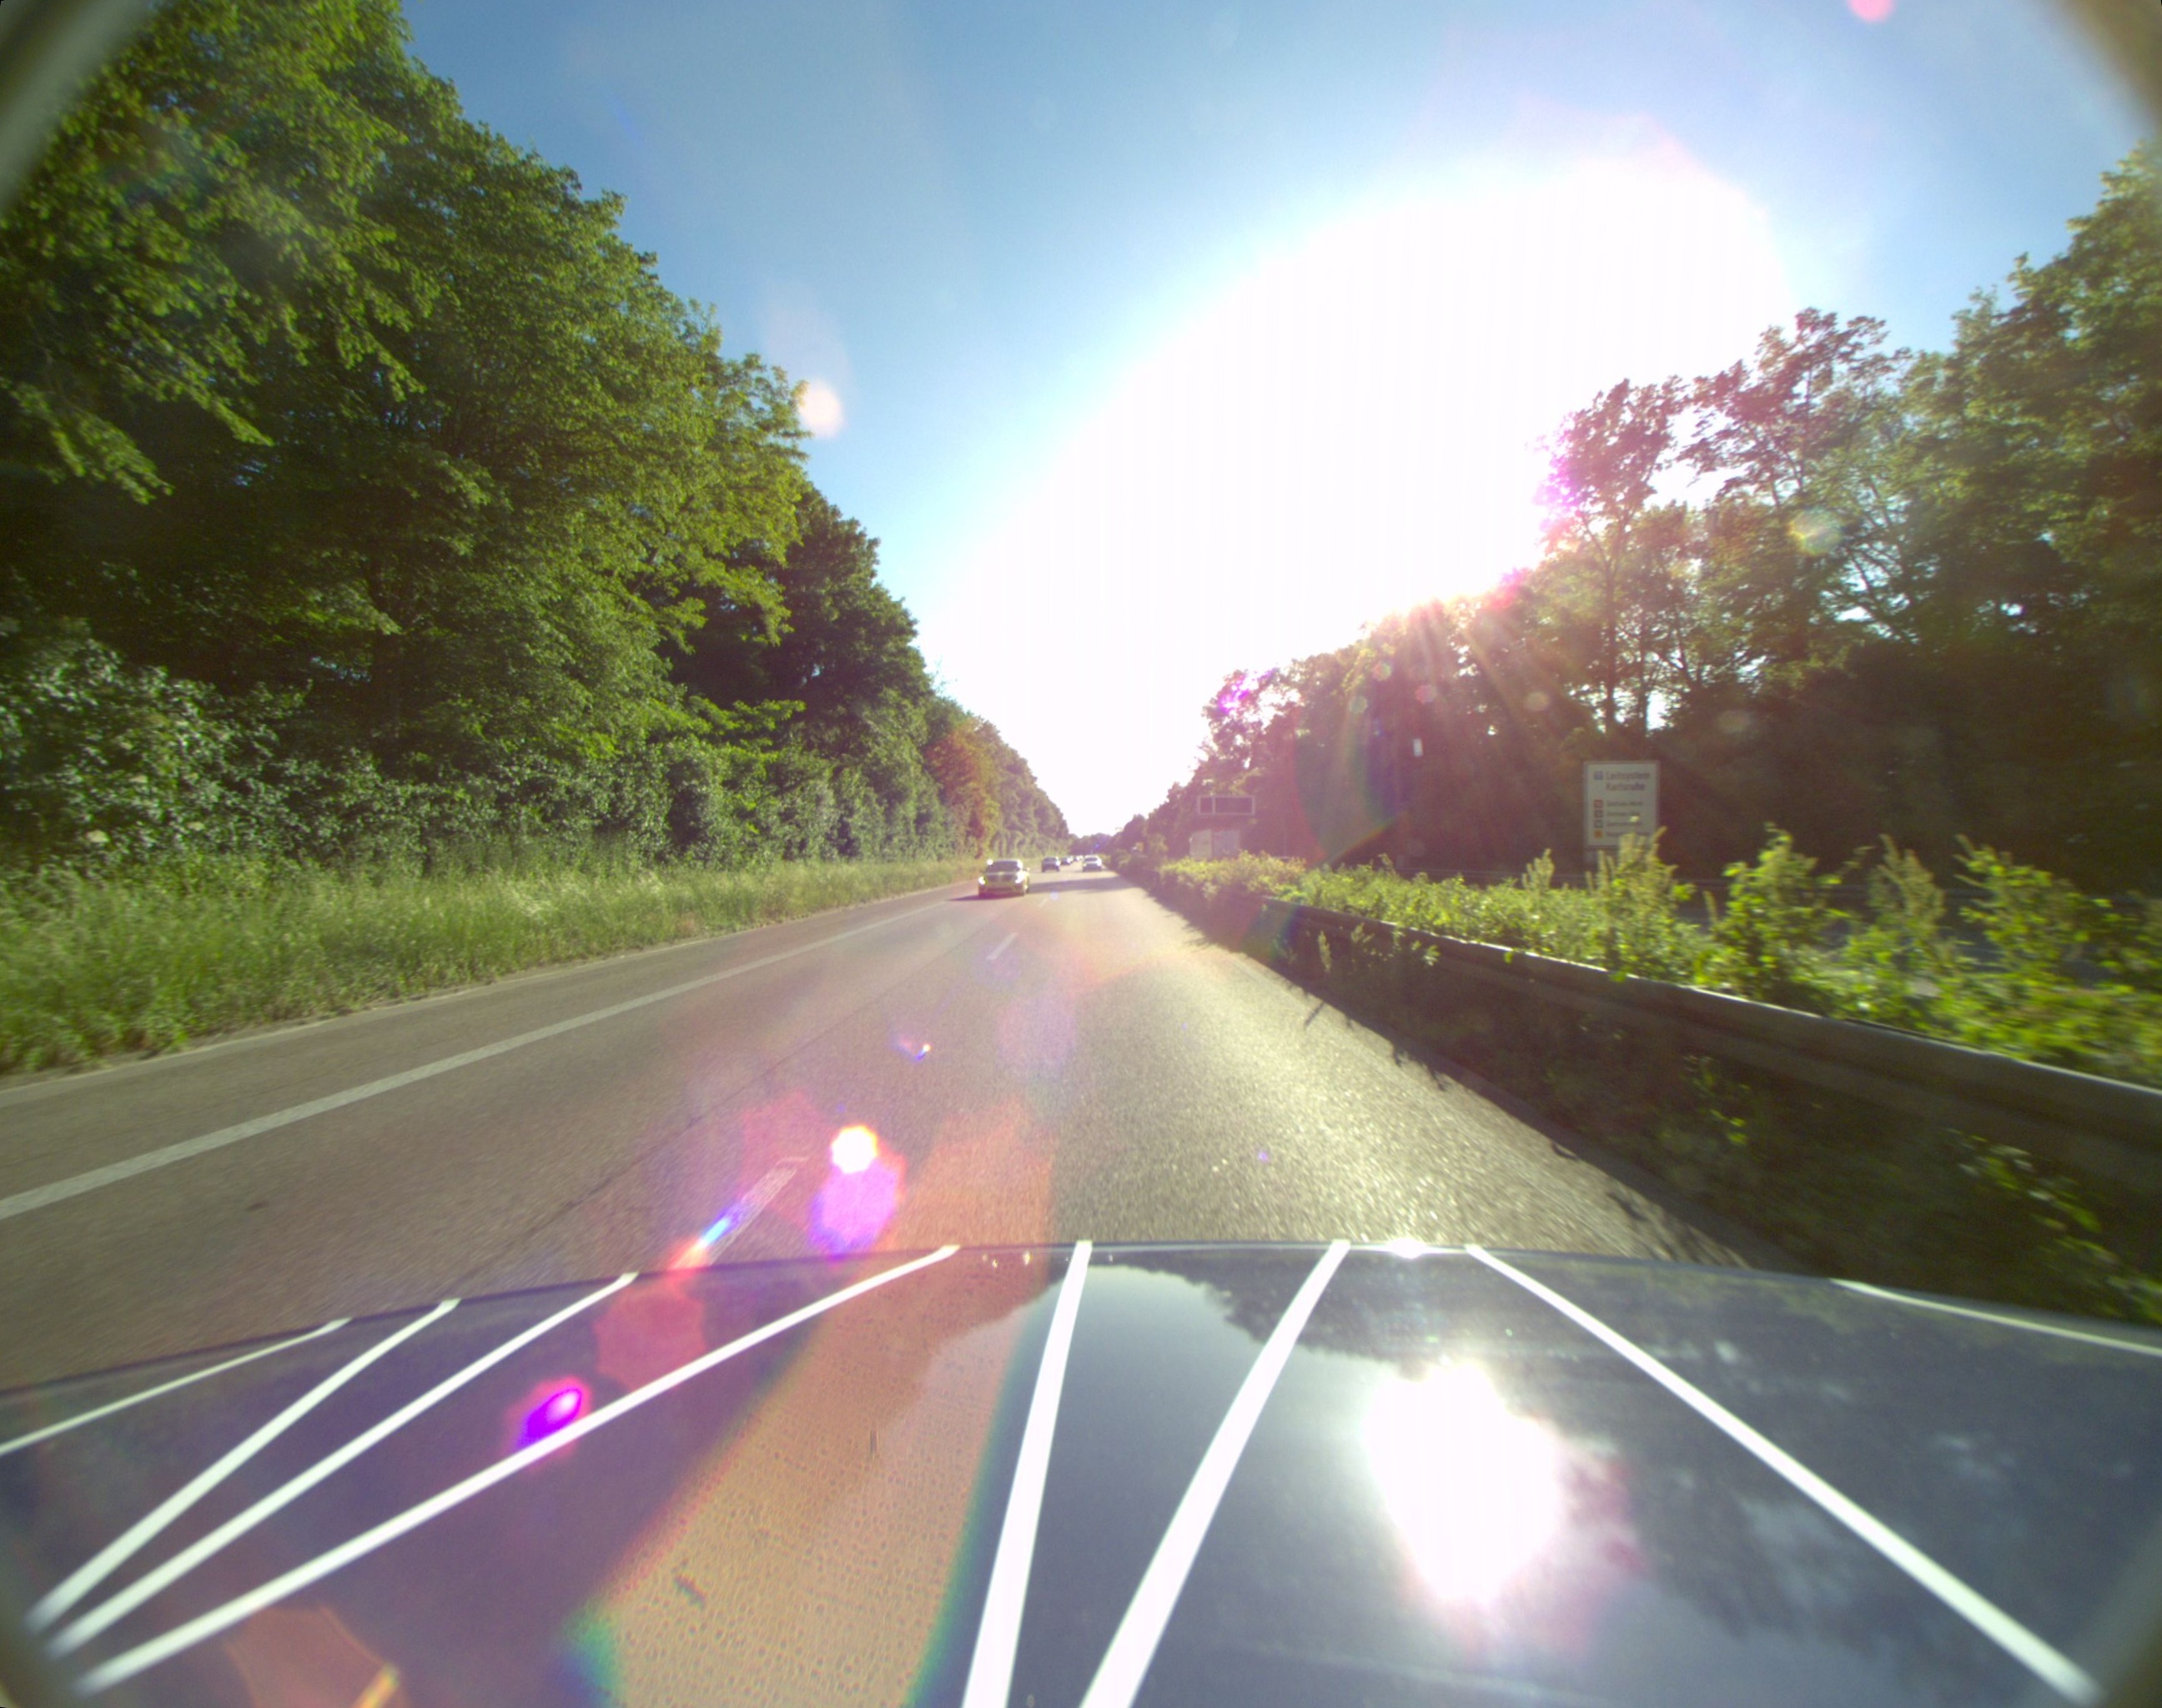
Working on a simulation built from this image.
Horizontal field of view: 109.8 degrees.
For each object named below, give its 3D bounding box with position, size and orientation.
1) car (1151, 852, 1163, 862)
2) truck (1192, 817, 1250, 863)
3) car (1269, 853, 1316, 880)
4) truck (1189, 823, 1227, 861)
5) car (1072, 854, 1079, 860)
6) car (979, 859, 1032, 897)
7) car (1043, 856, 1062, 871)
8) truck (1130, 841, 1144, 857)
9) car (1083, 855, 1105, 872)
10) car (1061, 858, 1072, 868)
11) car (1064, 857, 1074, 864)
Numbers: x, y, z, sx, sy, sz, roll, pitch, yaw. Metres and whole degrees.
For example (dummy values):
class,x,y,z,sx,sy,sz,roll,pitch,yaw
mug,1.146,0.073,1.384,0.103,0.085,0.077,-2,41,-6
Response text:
class,x,y,z,sx,sy,sz,roll,pitch,yaw
car,14.321,0.597,142.932,1.721,1.799,4.526,-2,1,1
truck,13.680,-1.261,75.802,3.251,3.989,14.451,-2,0,1
car,12.788,0.715,46.158,1.768,1.464,3.792,-2,1,1
truck,13.774,-1.258,82.821,3.236,3.989,5.676,-2,0,1
car,-1.478,0.859,199.503,1.794,1.440,3.877,-2,0,0
car,-3.045,0.940,31.395,1.794,1.440,3.877,-2,0,0
car,-2.841,0.930,77.134,1.794,1.440,3.877,-2,0,0
truck,14.415,-1.346,195.253,2.776,3.932,11.466,-2,1,1
car,1.214,0.866,70.547,1.890,1.440,3.878,-2,0,1
car,-2.307,1.439,122.254,1.794,1.440,3.877,-2,0,0
car,-2.353,1.274,149.755,1.794,1.440,3.877,-2,0,0
